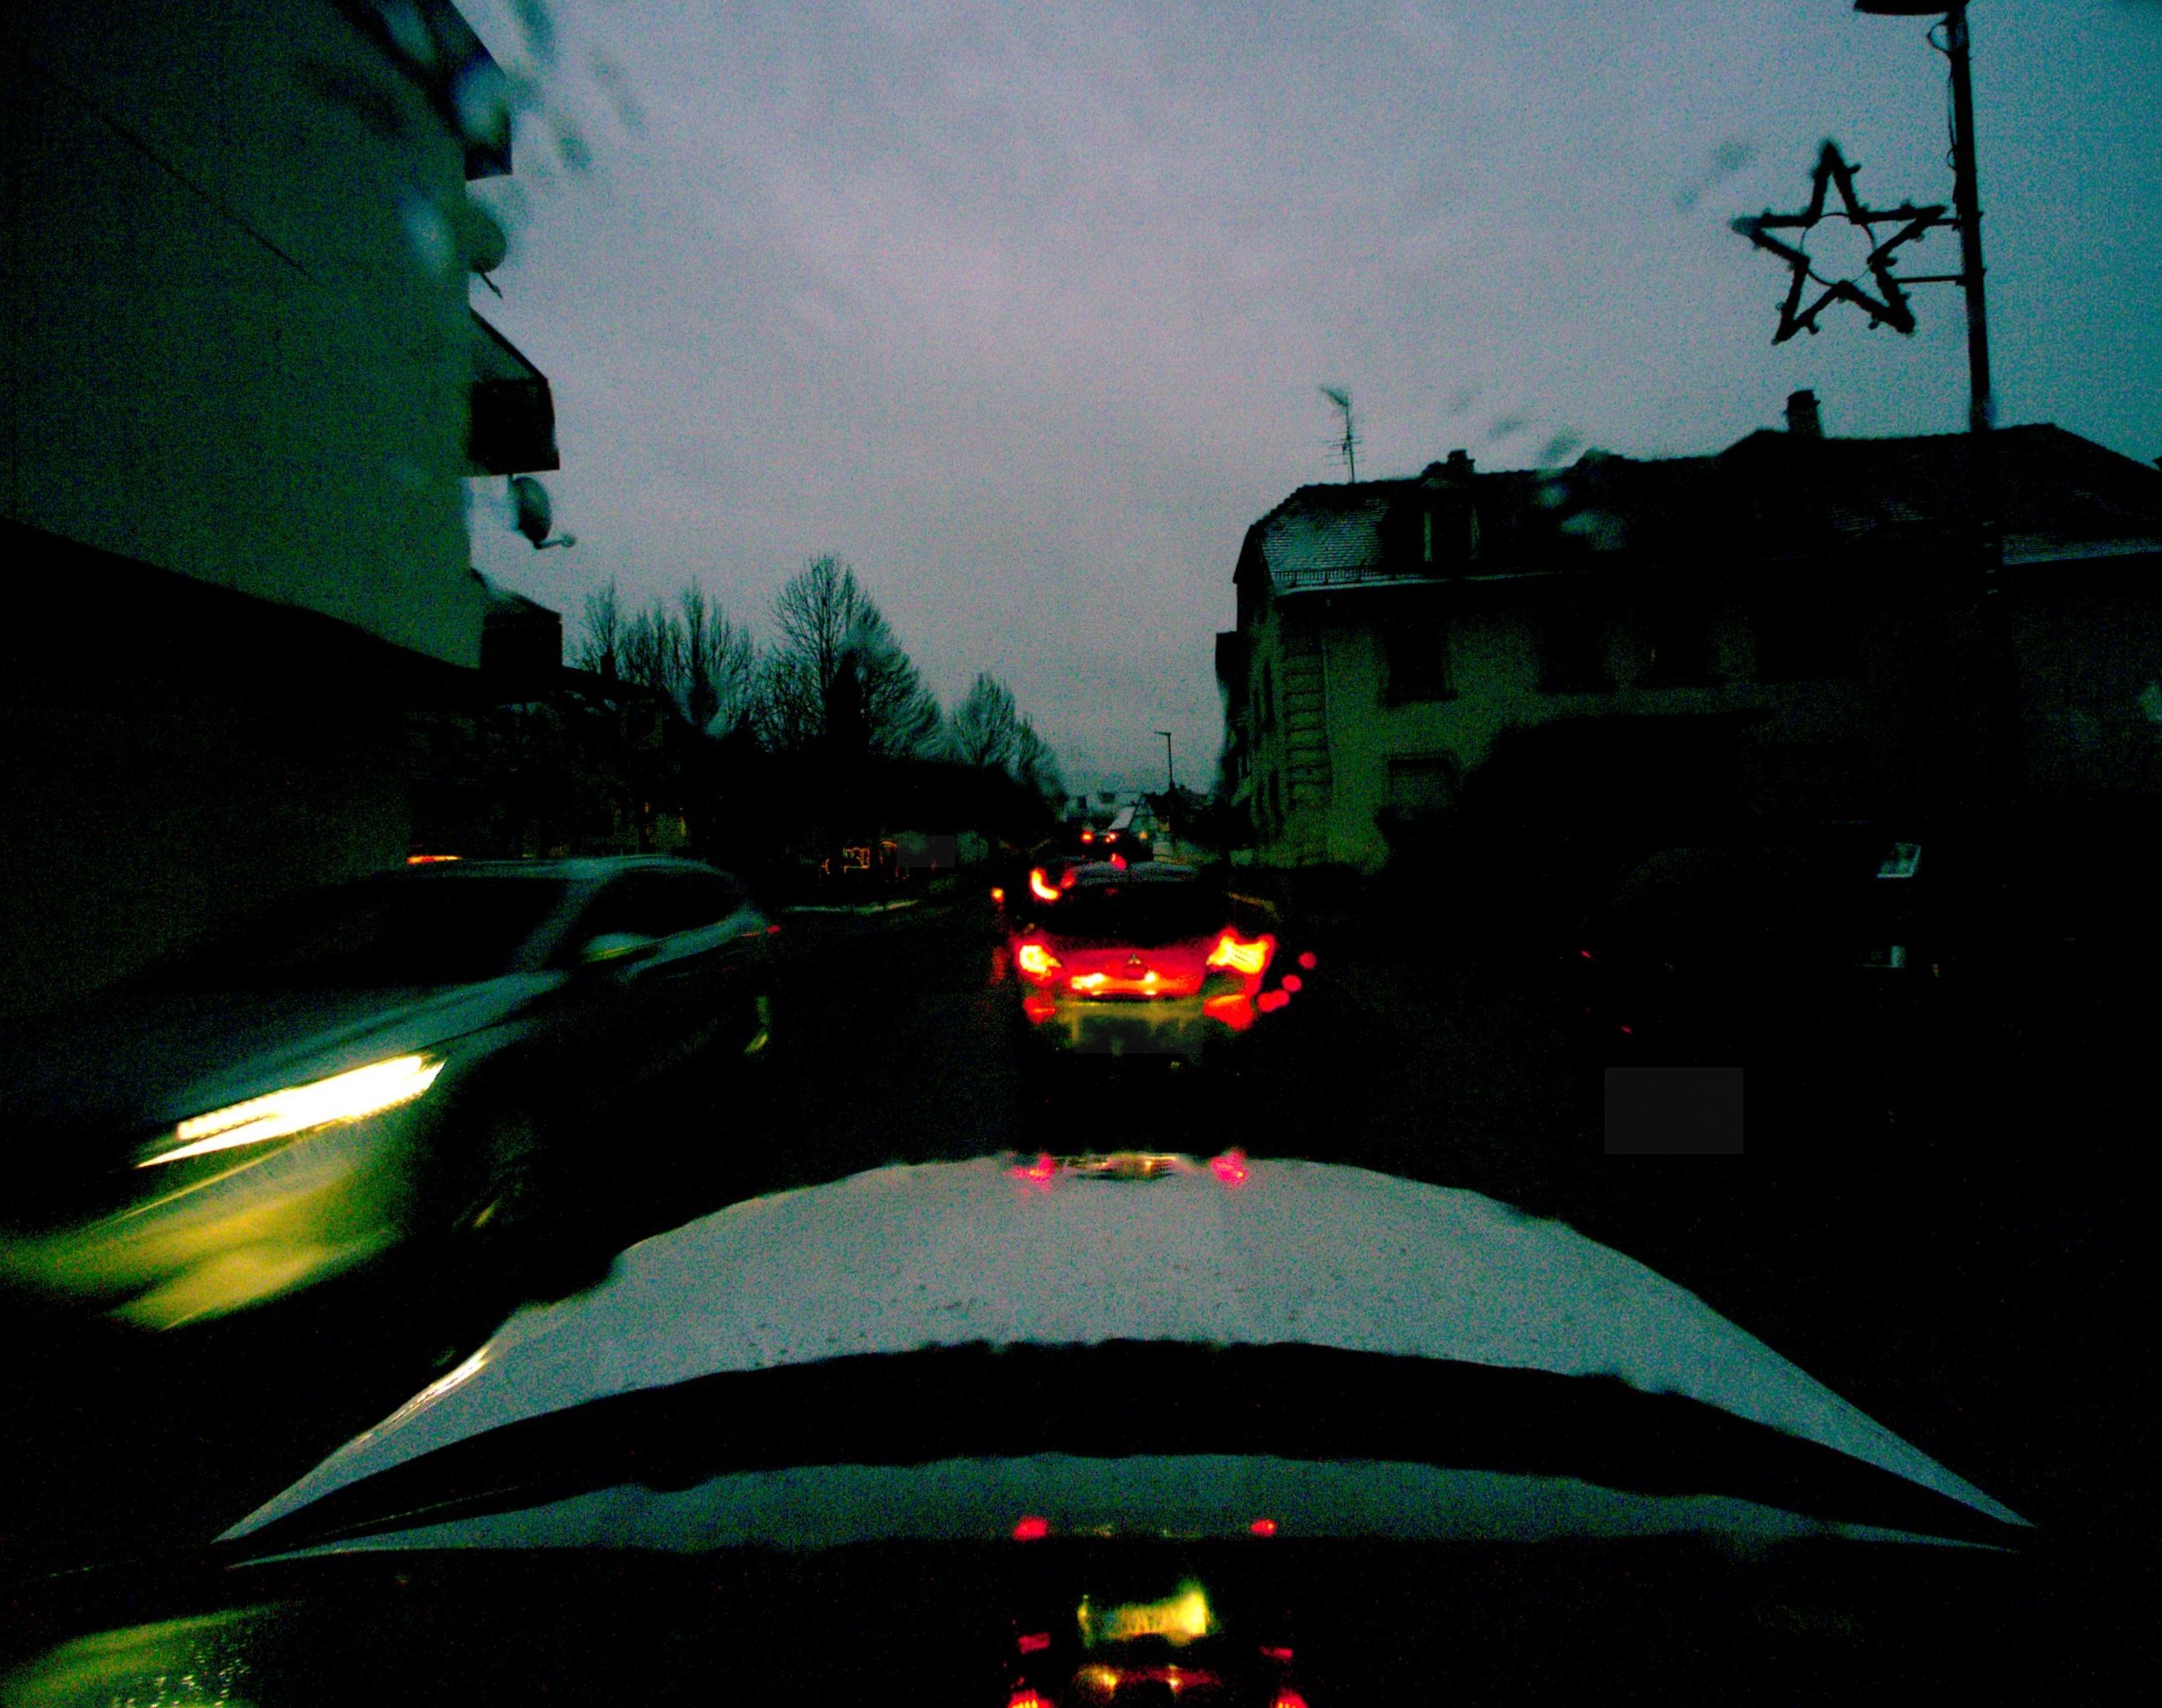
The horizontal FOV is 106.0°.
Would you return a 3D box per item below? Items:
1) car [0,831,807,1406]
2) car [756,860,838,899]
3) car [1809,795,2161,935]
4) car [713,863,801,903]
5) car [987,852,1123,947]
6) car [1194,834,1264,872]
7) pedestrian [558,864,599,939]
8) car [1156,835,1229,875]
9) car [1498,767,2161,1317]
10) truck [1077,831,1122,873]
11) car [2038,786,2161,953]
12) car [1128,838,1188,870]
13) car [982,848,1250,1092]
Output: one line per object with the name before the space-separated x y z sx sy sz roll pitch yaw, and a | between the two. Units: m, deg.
car | -3.131 0.752 4.502 1.806 1.596 4.396 -2 0 -2
car | -15.664 1.384 44.872 3.953 1.998 1.829 -2 0 21
car | 12.346 0.100 10.561 3.971 1.524 1.938 -3 -1 2
car | -16.694 1.475 42.020 3.953 1.910 1.829 -2 0 21
car | -0.578 0.719 14.811 1.642 1.481 3.251 -1 0 -18
car | 9.031 -0.071 49.987 4.073 2.151 1.918 -2 0 8
pedestrian | -10.110 0.939 16.387 0.653 1.458 0.643 -1 0 -35
car | 6.561 0.037 47.781 4.073 2.163 1.918 -2 0 8
car | 4.104 0.489 3.395 3.862 1.579 1.680 -3 0 -4
truck | 1.629 -0.186 66.804 3.001 3.128 8.012 -1 0 5
car | 12.133 0.050 7.592 3.973 1.570 2.000 -3 -1 1
car | 5.546 -0.009 58.132 4.073 2.151 1.918 -2 0 8
car | 0.271 0.722 6.741 1.632 1.481 3.380 -1 0 2
